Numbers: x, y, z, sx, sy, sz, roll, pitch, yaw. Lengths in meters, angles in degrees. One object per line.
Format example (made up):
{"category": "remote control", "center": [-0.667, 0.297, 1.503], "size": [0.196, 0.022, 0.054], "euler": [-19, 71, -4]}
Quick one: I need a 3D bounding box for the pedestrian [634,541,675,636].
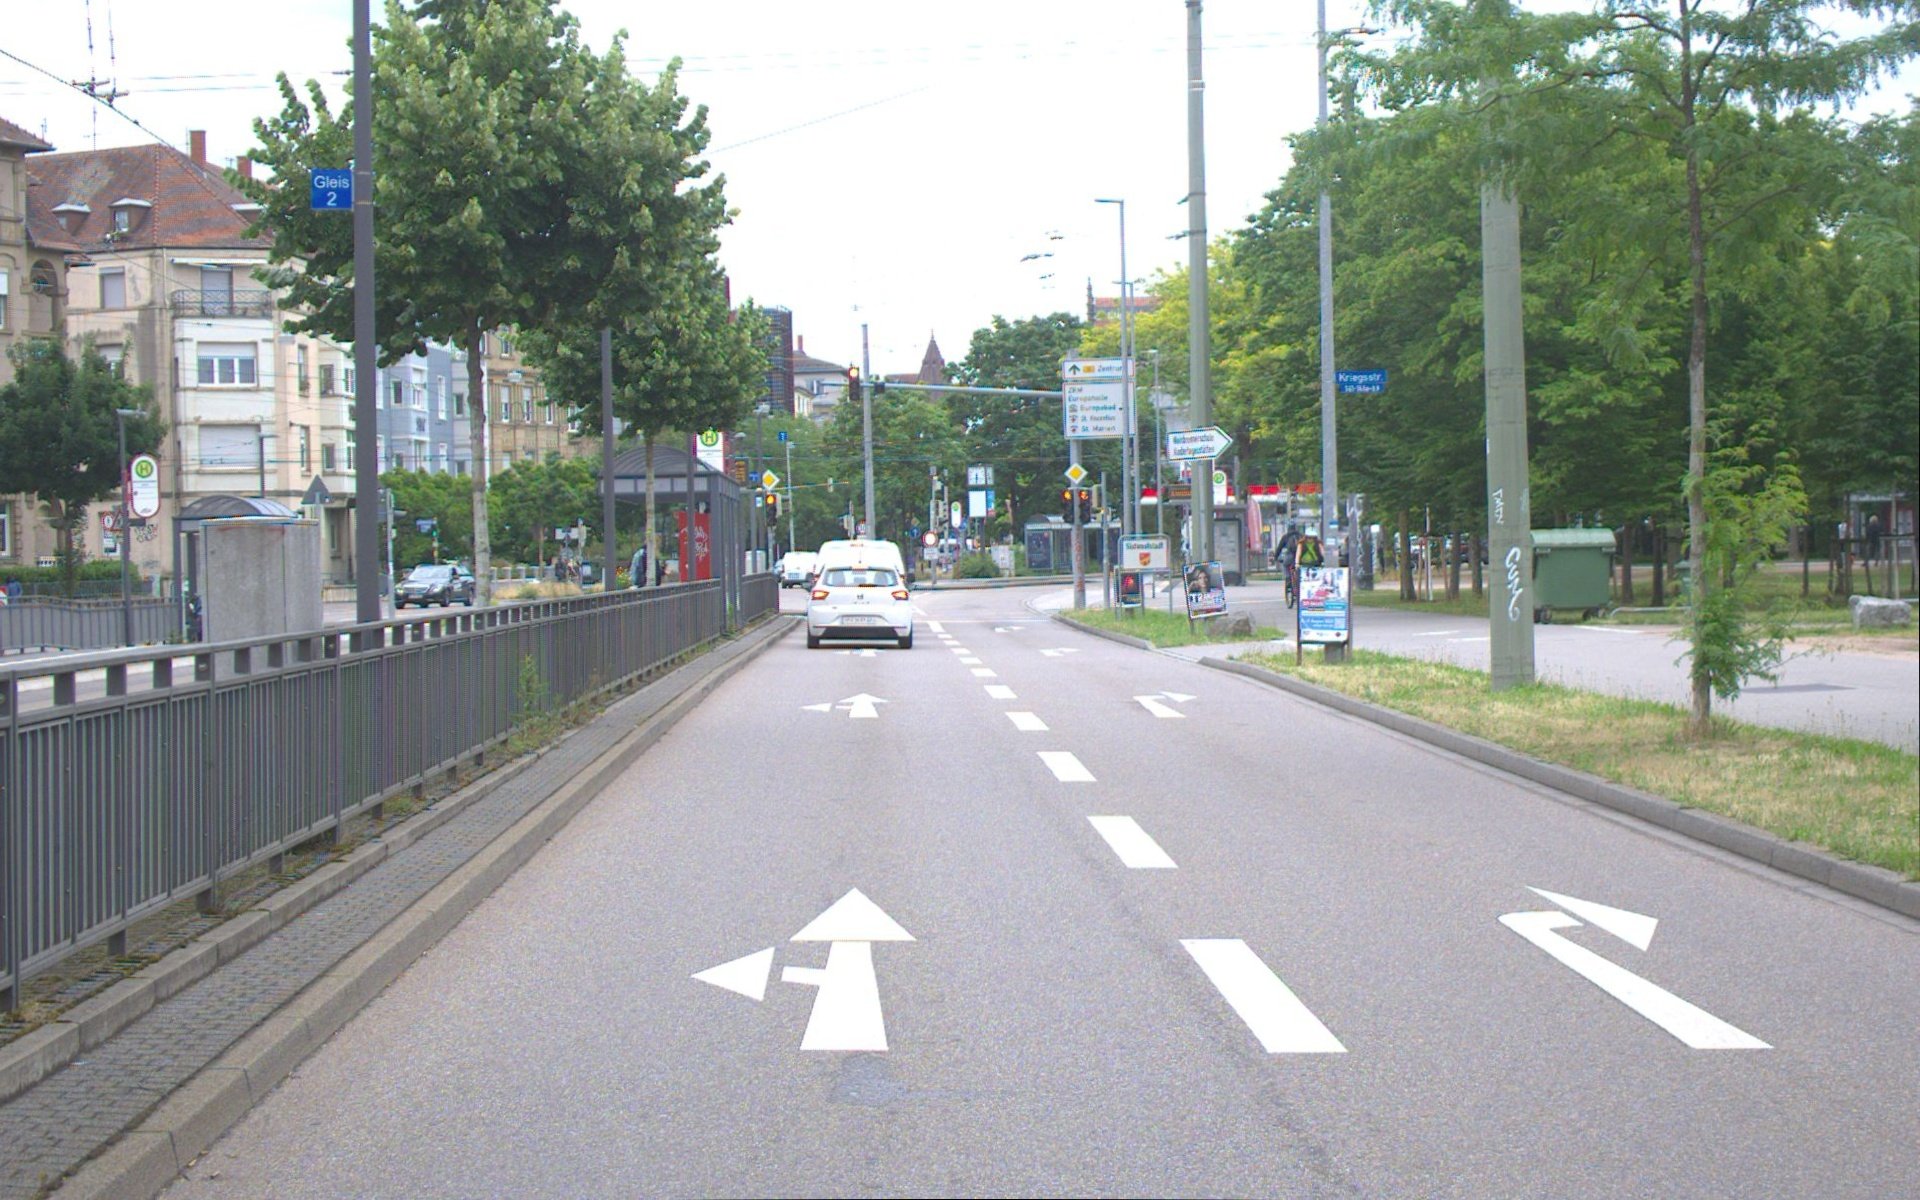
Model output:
{"category": "pedestrian", "center": [-4.839, -0.181, 54.503], "size": [0.576, 1.476, 0.618], "euler": [-2, 1, -3]}

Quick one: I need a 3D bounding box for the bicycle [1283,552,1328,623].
{"category": "bicycle", "center": [5.808, -0.224, 57.860], "size": [0.679, 1.151, 1.898], "euler": [-2, 1, 5]}

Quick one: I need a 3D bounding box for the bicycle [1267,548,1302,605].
{"category": "bicycle", "center": [6.871, -0.500, 72.660], "size": [0.679, 1.151, 1.898], "euler": [-2, 1, 6]}

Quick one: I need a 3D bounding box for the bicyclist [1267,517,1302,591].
{"category": "bicyclist", "center": [6.861, -0.973, 72.726], "size": [0.679, 1.532, 0.673], "euler": [-2, 1, 6]}

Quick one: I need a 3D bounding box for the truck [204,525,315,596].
{"category": "truck", "center": [-21.124, -1.183, 103.848], "size": [1.788, 2.026, 5.395], "euler": [-1, 0, 5]}

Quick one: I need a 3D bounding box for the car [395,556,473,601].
{"category": "car", "center": [-18.114, -0.744, 118.601], "size": [1.770, 1.488, 3.886], "euler": [-1, 0, 5]}

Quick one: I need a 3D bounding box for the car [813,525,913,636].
{"category": "car", "center": [-1.822, -0.382, 64.375], "size": [1.782, 1.956, 4.383], "euler": [-1, 1, -2]}

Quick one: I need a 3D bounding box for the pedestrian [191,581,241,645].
{"category": "pedestrian", "center": [-15.207, 0.259, 70.313], "size": [0.864, 1.262, 0.694], "euler": [-2, 1, -3]}

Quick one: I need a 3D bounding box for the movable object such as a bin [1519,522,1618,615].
{"category": "movable object such as a bin", "center": [9.312, -0.482, 52.669], "size": [1.282, 1.385, 1.159], "euler": [-1, 0, 0]}

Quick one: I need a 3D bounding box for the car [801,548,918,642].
{"category": "car", "center": [-1.617, -0.107, 56.467], "size": [1.782, 1.467, 4.010], "euler": [-1, 1, 0]}

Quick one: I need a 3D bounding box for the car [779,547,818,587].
{"category": "car", "center": [-7.804, -1.595, 166.491], "size": [1.770, 1.867, 3.887], "euler": [-1, 0, -1]}

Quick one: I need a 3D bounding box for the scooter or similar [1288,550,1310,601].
{"category": "scooter or similar", "center": [7.776, -0.567, 78.874], "size": [0.376, 1.137, 1.199], "euler": [-2, 1, 10]}

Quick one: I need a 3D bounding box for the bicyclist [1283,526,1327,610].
{"category": "bicyclist", "center": [5.795, -0.539, 57.747], "size": [0.679, 1.375, 0.727], "euler": [-2, 1, 5]}
